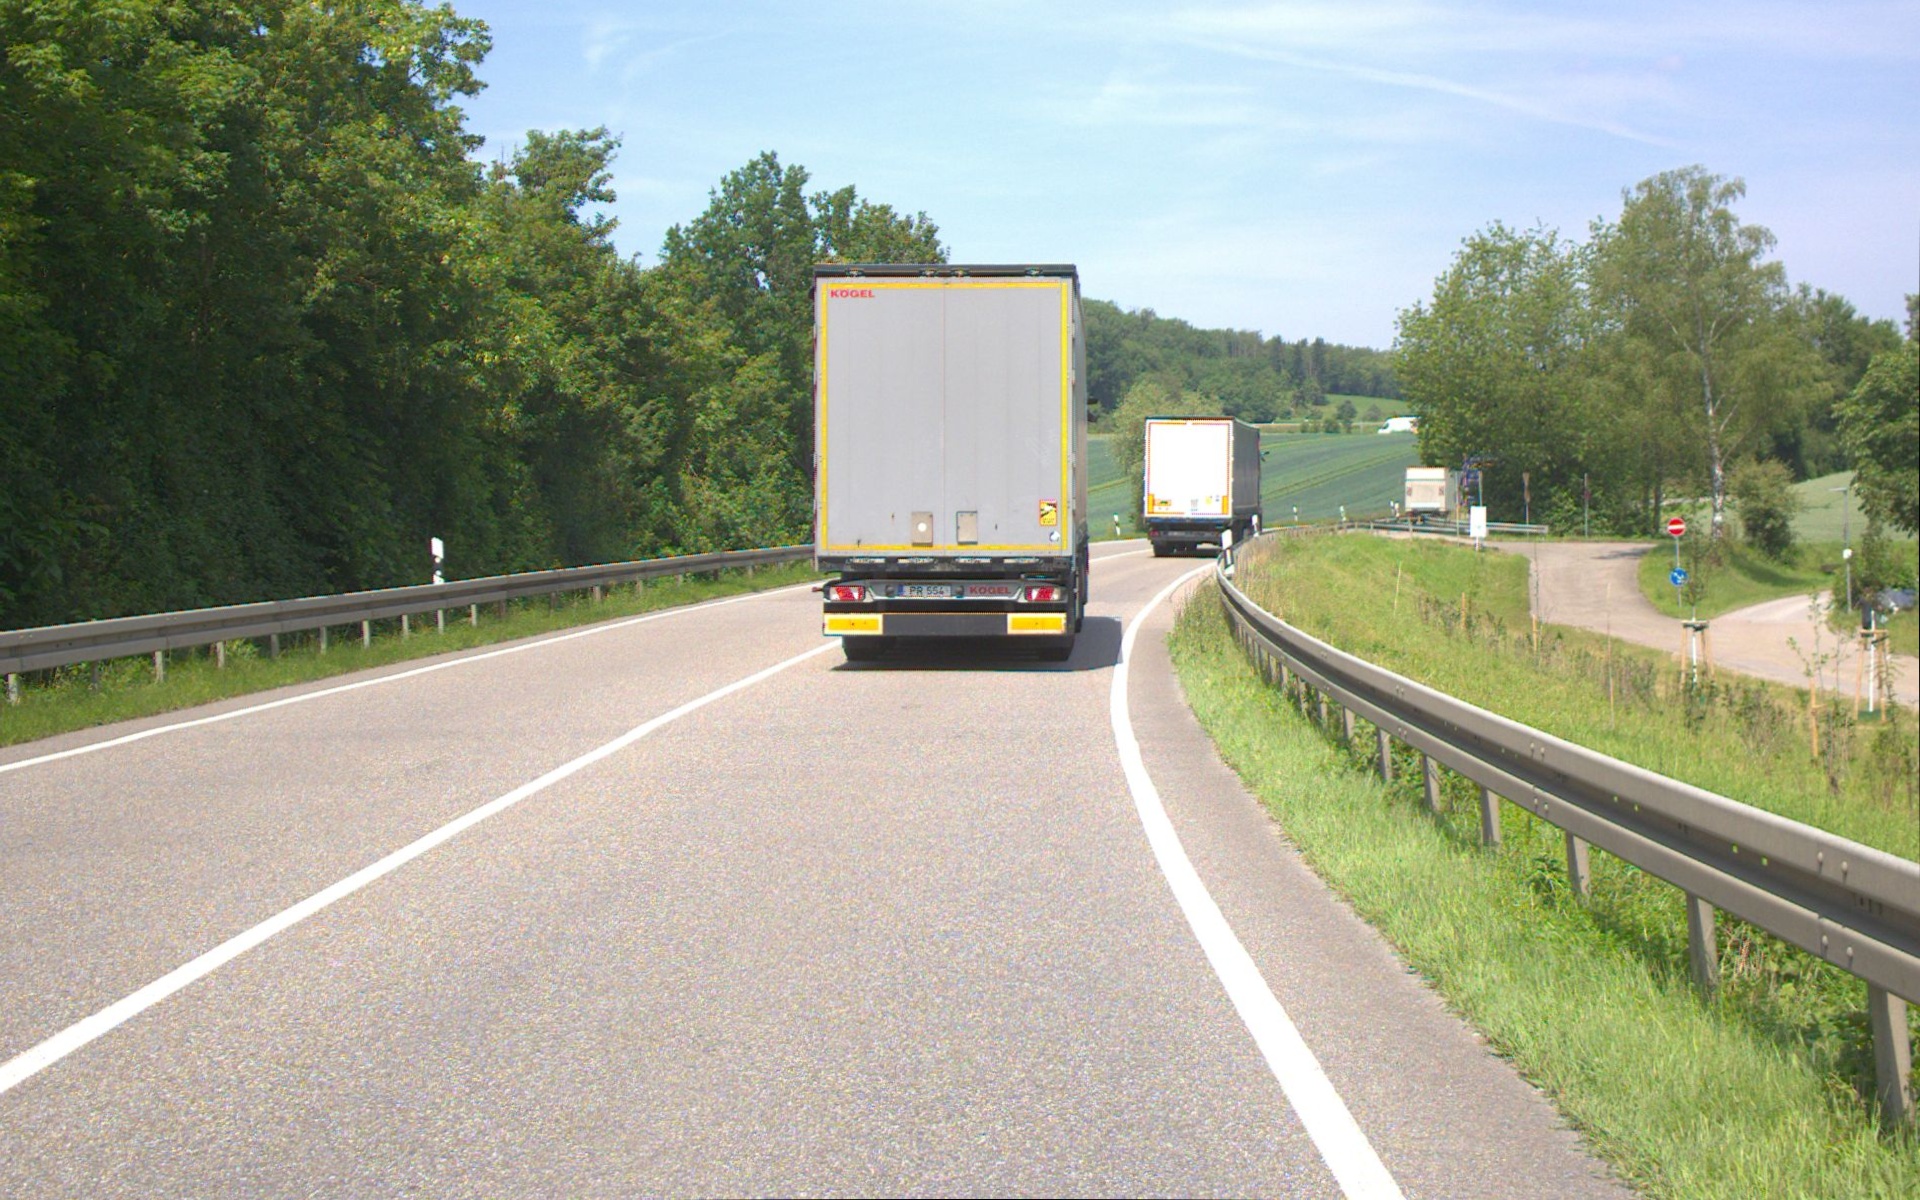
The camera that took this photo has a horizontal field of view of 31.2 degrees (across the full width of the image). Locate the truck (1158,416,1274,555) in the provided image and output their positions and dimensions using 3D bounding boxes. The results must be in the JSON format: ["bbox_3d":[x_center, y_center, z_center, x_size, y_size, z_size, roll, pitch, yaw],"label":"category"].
[{"bbox_3d":[8.316,-3.619,110.947,3.366,4.302,6.738,0,1,7],"label":"truck"}]

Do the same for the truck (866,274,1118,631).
[{"bbox_3d":[0.555,-1.951,46.637,3.118,4.479,6.811,0,2,3],"label":"truck"}]

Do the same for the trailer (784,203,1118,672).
[{"bbox_3d":[0.226,-1.755,39.912,3.118,4.484,13.886,0,2,3],"label":"trailer"}]

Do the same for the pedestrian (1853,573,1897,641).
[{"bbox_3d":[25.439,0.193,95.548,0.885,1.804,0.959,-3,2,0],"label":"pedestrian"}]

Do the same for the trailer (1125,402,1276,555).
[{"bbox_3d":[7.455,-3.532,104.541,3.366,4.302,13.859,0,1,9],"label":"trailer"}]

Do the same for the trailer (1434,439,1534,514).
[{"bbox_3d":[31.735,-7.388,207.867,3.651,4.248,12.183,0,1,20],"label":"trailer"}]

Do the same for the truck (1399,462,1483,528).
[{"bbox_3d":[26.227,-5.661,186.822,3.225,3.354,11.867,0,1,14],"label":"truck"}]
